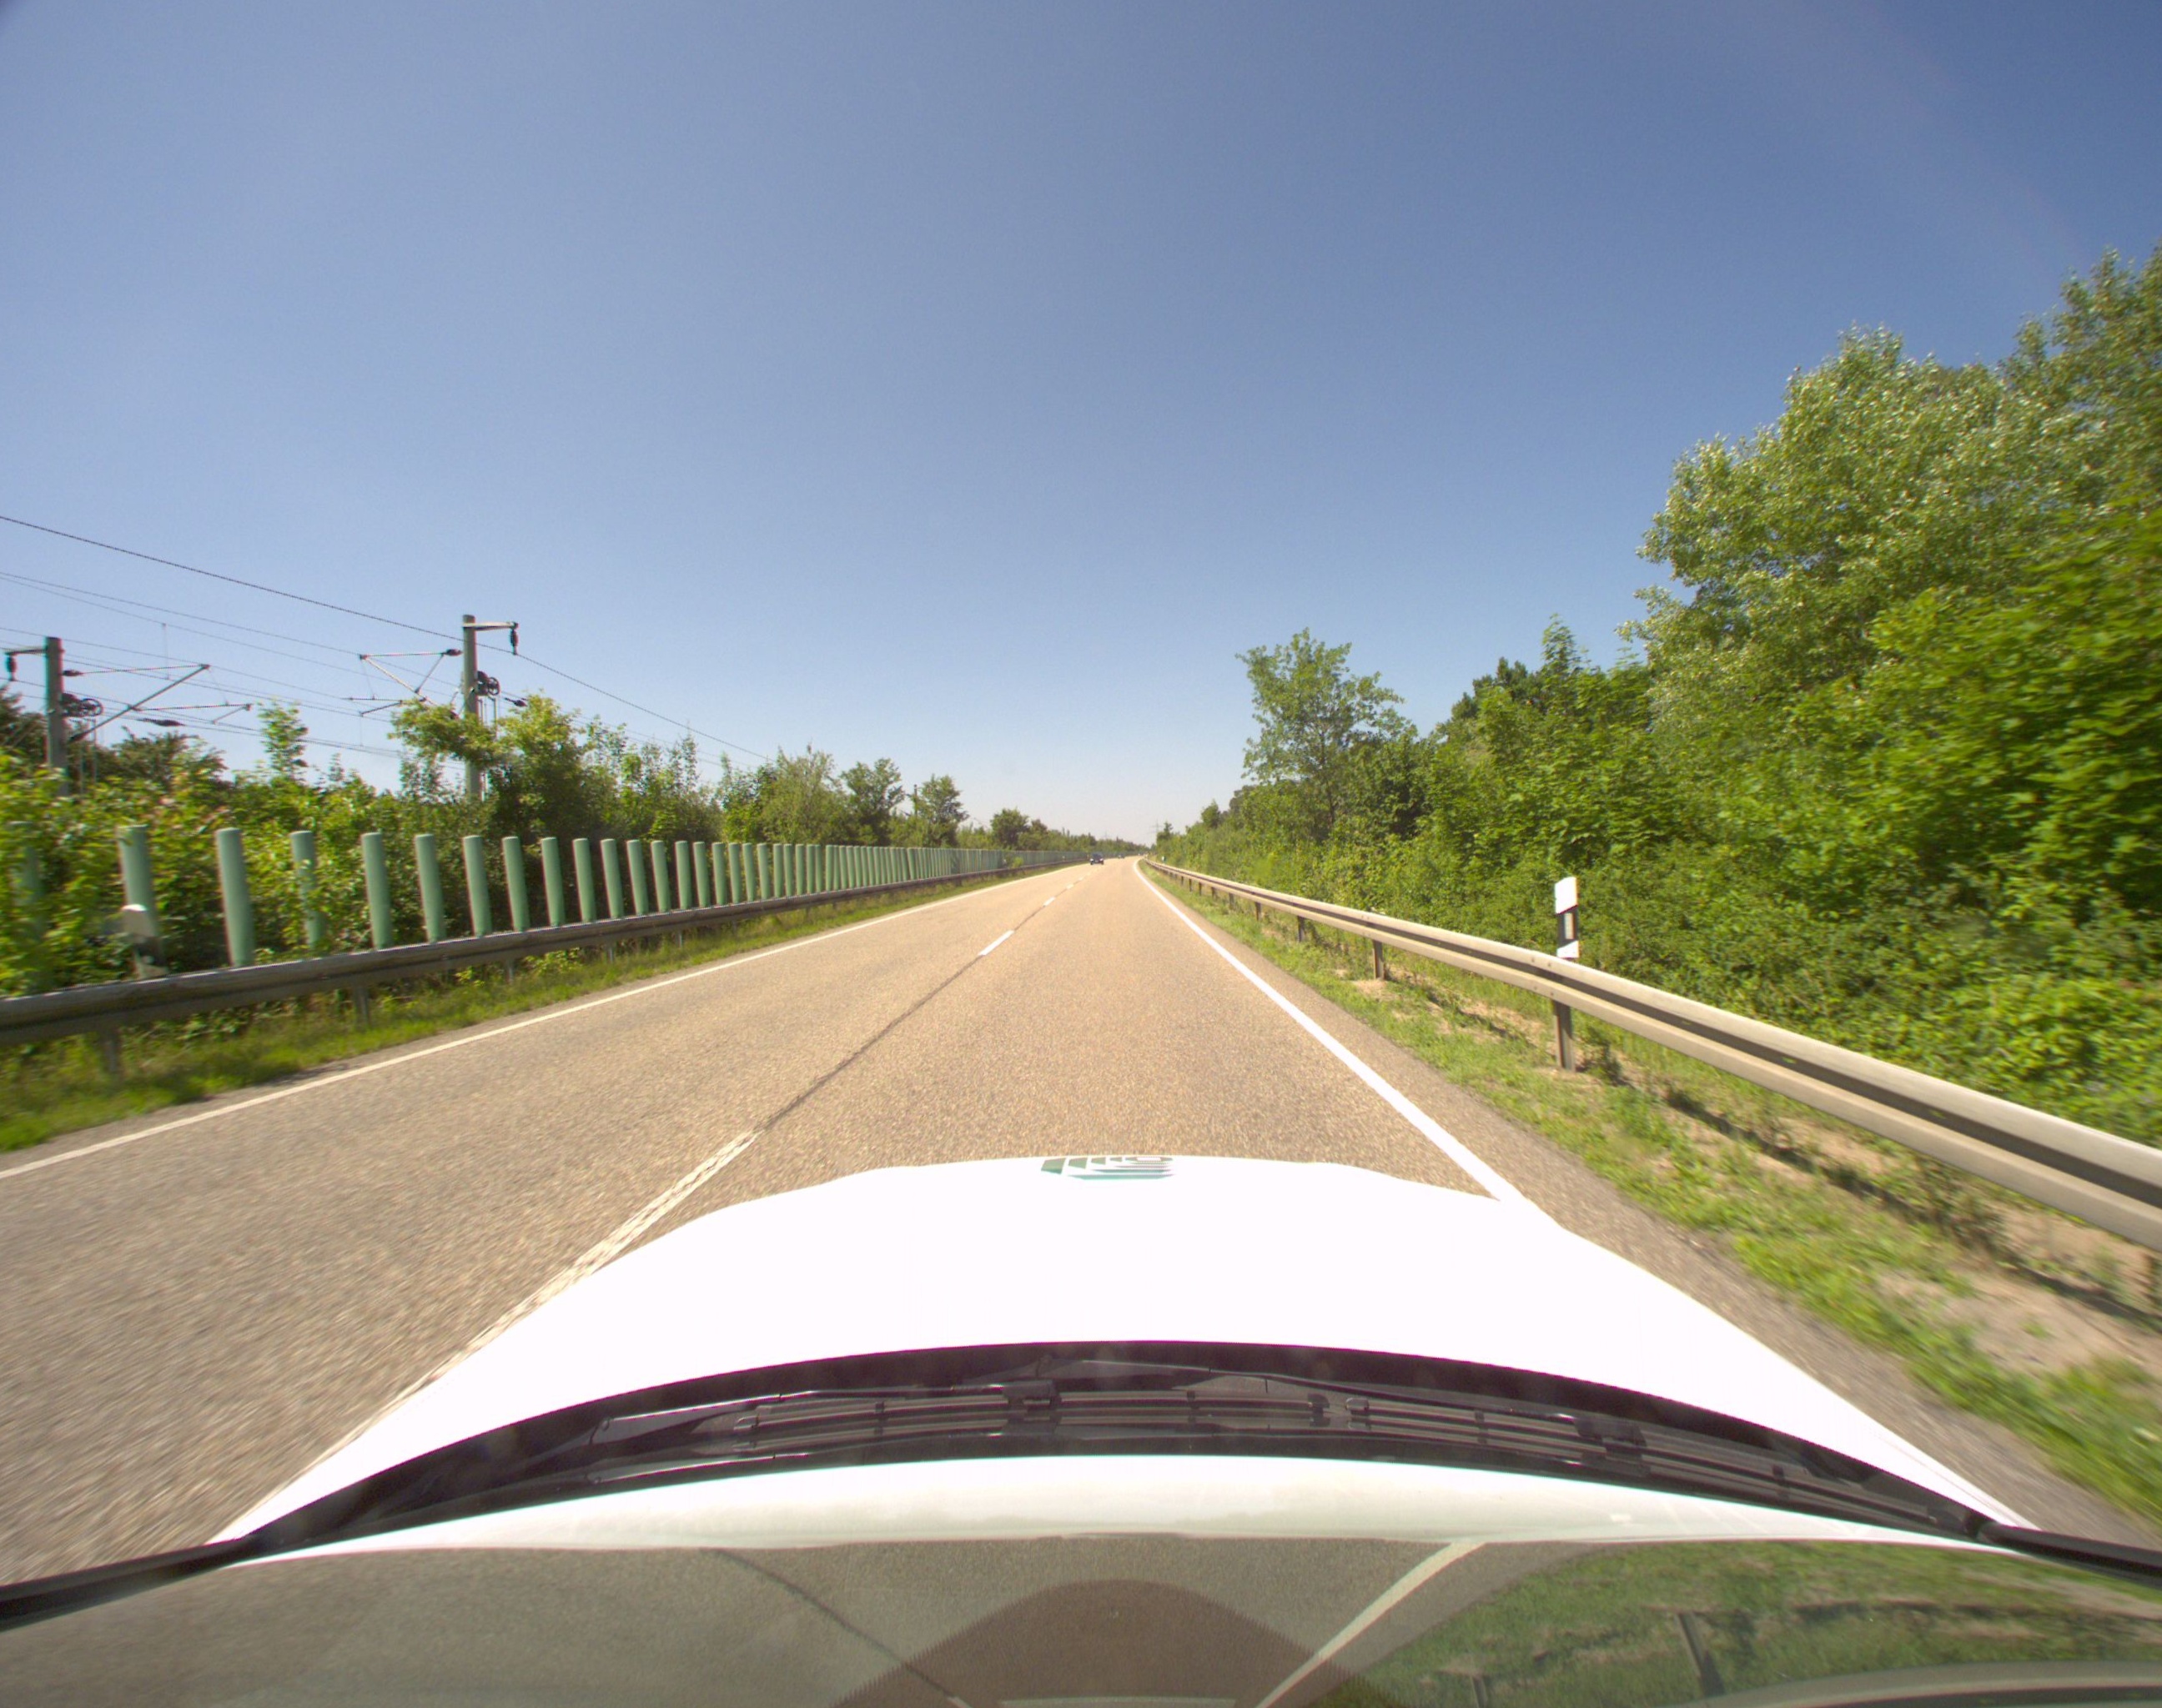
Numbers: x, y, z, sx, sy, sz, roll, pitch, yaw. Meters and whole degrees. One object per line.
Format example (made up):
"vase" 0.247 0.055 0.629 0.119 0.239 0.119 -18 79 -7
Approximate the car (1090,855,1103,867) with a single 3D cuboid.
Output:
"car" 2.177 0.991 116.079 1.757 1.640 4.128 -1 -1 2

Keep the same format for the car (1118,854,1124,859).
"car" 10.890 0.629 221.616 1.642 1.479 3.679 -2 0 3
